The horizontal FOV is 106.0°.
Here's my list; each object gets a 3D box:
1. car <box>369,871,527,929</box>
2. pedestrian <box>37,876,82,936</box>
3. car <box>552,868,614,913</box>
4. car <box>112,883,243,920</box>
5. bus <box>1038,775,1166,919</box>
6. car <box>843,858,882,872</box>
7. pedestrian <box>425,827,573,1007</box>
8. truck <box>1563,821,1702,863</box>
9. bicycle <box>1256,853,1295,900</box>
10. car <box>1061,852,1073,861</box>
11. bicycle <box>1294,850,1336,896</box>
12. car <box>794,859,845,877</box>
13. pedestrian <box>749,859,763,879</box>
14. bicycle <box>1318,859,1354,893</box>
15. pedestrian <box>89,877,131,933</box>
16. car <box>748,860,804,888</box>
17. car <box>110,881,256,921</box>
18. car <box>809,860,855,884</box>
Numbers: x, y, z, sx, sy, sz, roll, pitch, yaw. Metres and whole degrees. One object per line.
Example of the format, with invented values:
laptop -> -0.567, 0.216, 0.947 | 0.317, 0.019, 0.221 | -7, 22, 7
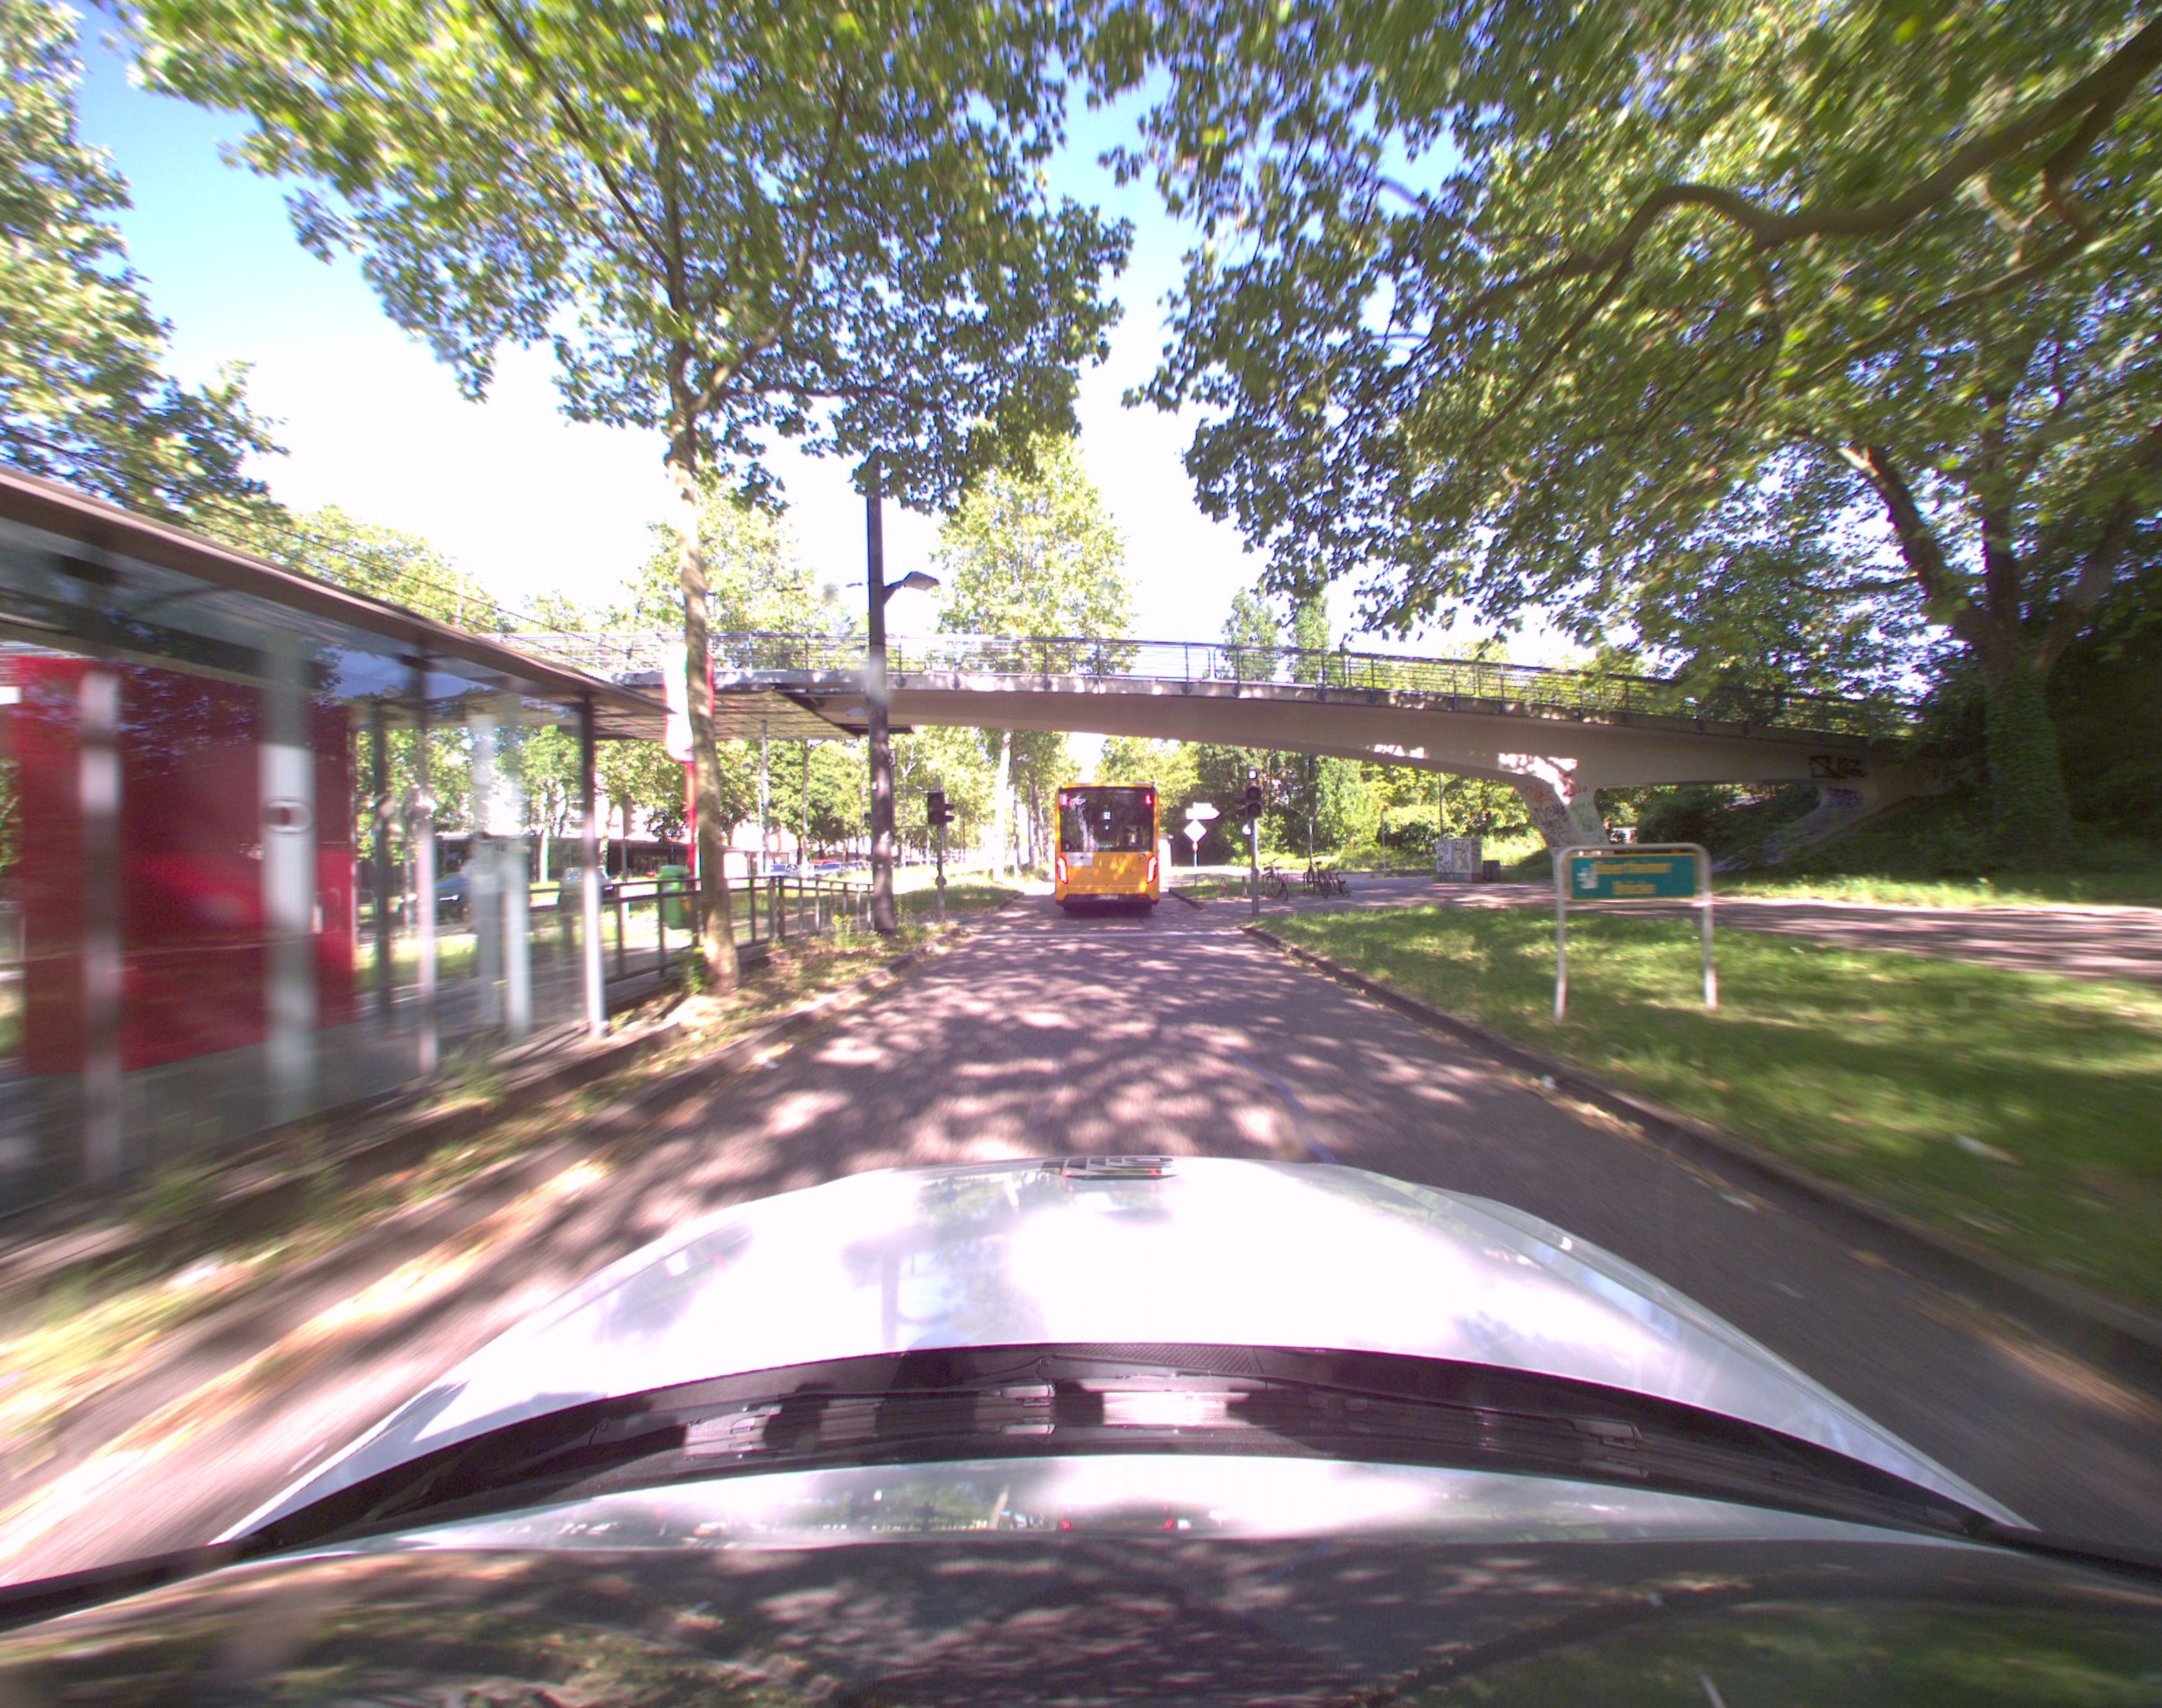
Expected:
car -> -20.177, 1.416, 26.229 | 1.790, 1.566, 4.284 | -2, 0, -3
pedestrian -> -31.121, 1.582, 24.819 | 0.642, 1.783, 0.653 | -2, 0, 22
car -> -19.642, 1.391, 32.284 | 1.805, 1.566, 4.248 | -2, 0, -28
car -> -43.172, 2.257, 39.004 | 3.980, 1.510, 1.797 | -2, 0, -5
bus -> 0.538, -0.167, 25.096 | 2.890, 3.266, 12.217 | -2, 0, 0
car -> -25.623, 1.286, 95.659 | 1.777, 1.510, 4.024 | -2, 0, 44
pedestrian -> -4.831, 0.501, 6.803 | 0.722, 1.417, 0.682 | -1, 0, 1
truck -> 30.952, -0.649, 45.789 | 6.617, 2.094, 2.115 | -2, -1, -6
bicycle -> 5.442, 0.608, 22.860 | 0.588, 1.182, 1.800 | -5, 1, 1
car -> -2.766, 0.490, 160.291 | 1.978, 1.643, 4.136 | 1, 1, 2
bicycle -> 6.527, 0.509, 22.801 | 0.588, 1.182, 1.800 | -5, 1, 1
car -> -24.177, 1.268, 75.382 | 1.777, 1.510, 4.024 | -2, 0, 44
pedestrian -> -23.819, 1.084, 59.678 | 0.645, 1.460, 0.651 | -2, 0, 3
bicycle -> 7.166, 0.612, 22.968 | 0.503, 0.852, 1.473 | -5, 1, 1
pedestrian -> -30.705, 1.597, 25.760 | 0.642, 1.705, 0.653 | -2, 0, 22
car -> -19.187, 1.245, 51.467 | 1.787, 1.580, 4.289 | -2, 0, 2
car -> -39.149, 2.015, 35.585 | 4.068, 1.510, 1.796 | -2, 0, -6
car -> -17.524, 1.212, 57.473 | 1.789, 1.510, 4.673 | -2, 0, -1
